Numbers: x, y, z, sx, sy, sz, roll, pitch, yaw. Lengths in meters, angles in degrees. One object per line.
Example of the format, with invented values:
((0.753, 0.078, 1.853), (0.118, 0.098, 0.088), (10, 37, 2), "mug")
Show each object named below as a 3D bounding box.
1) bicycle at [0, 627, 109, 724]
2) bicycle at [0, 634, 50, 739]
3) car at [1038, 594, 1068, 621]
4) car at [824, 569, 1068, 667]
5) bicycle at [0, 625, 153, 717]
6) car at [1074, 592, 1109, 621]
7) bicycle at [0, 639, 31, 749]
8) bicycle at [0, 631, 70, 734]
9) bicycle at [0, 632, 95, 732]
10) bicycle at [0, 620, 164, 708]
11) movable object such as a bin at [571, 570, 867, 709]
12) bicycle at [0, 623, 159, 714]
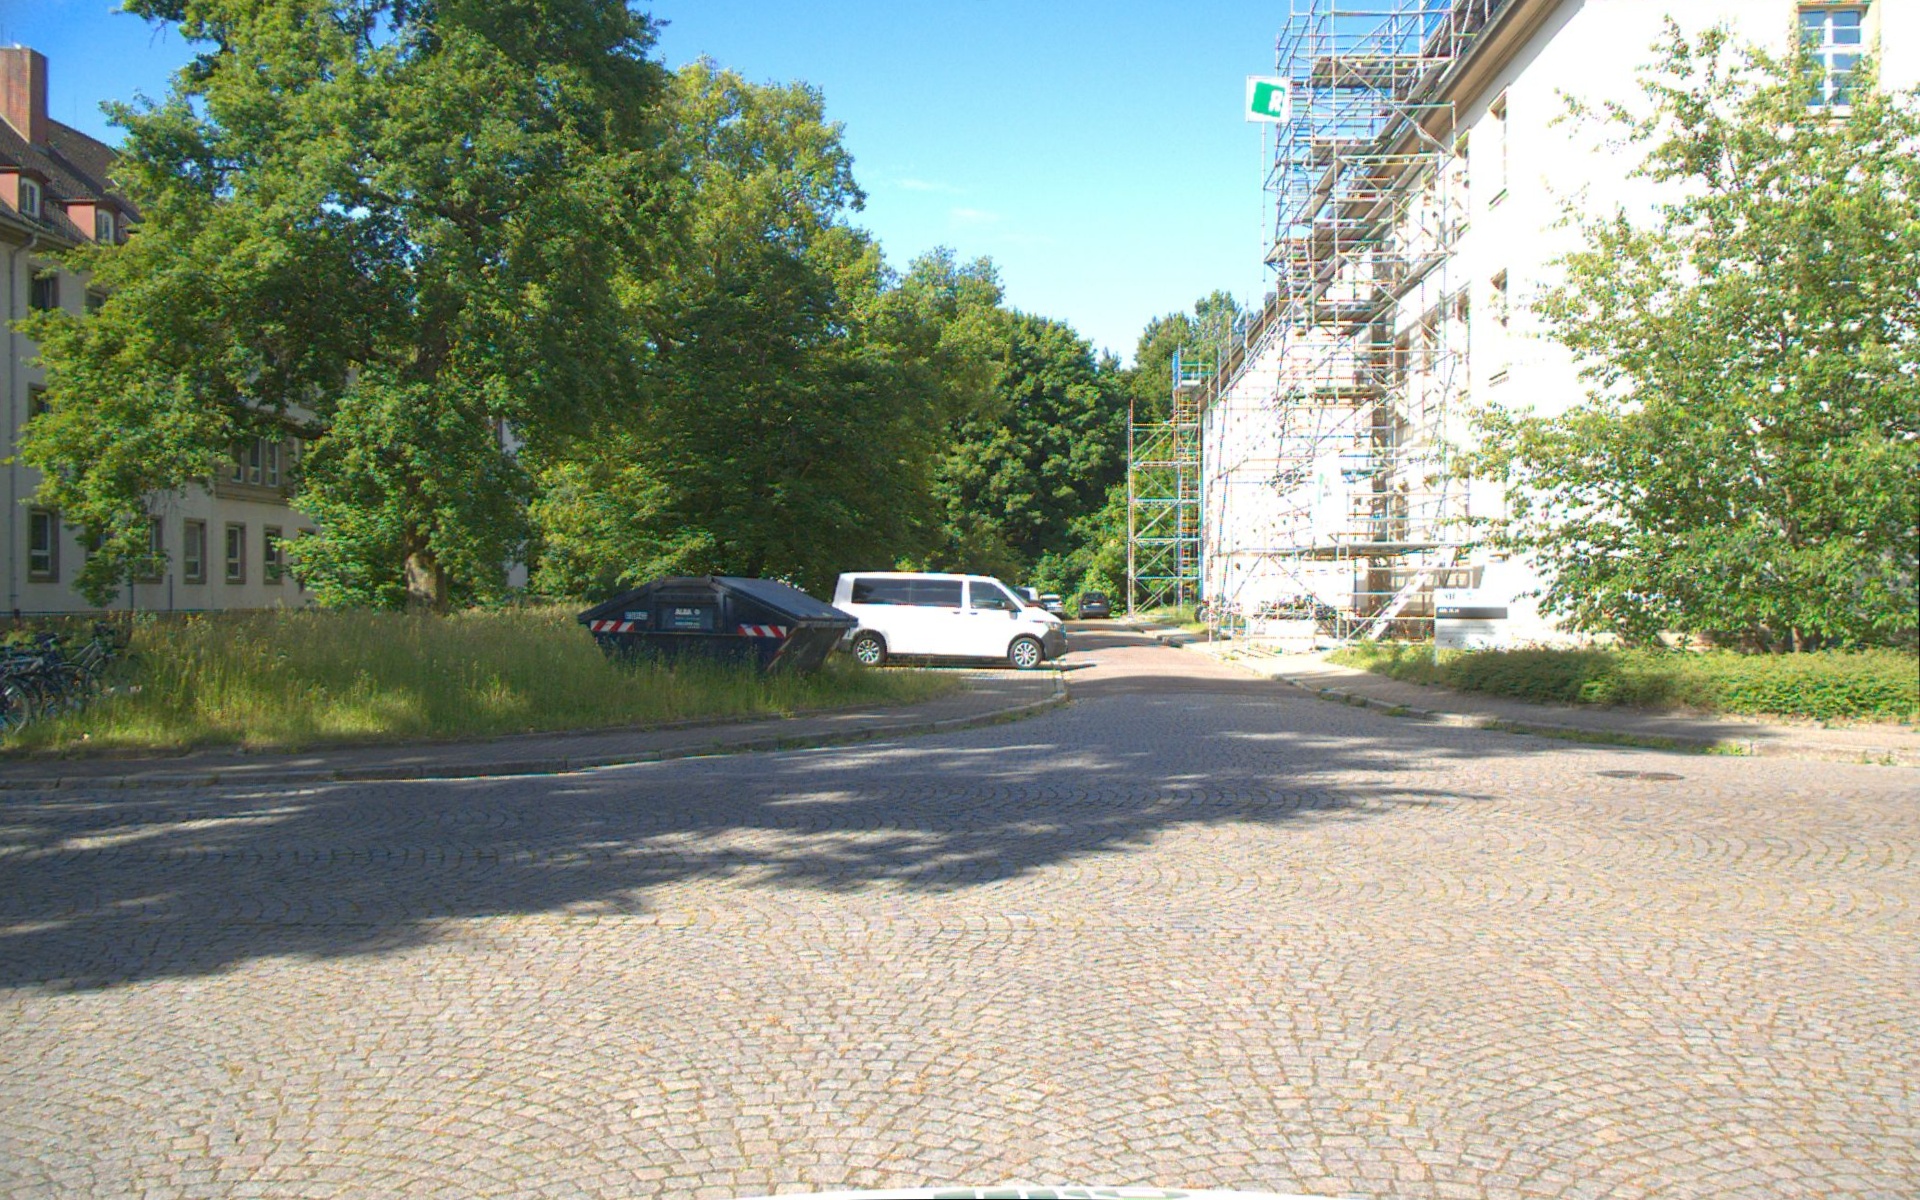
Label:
((-11.148, 0.904, 19.510), (1.884, 1.076, 0.473), (-2, 1, -18), "bicycle")
((-10.663, 0.940, 17.319), (1.885, 1.076, 0.473), (-2, 1, -20), "bicycle")
((5.710, 0.465, 101.577), (1.774, 1.607, 4.136), (-1, 0, 2), "car")
((-0.254, 0.371, 35.747), (5.125, 2.051, 1.951), (0, 0, 2), "car")
((-11.486, 0.901, 21.295), (1.884, 1.076, 0.473), (-2, 1, -18), "bicycle")
((8.077, 0.392, 101.766), (1.930, 1.697, 4.087), (-1, 0, 2), "car")
((-10.281, 0.974, 16.309), (1.890, 1.076, 0.472), (-2, 1, -27), "bicycle")
((-10.743, 0.921, 17.887), (1.885, 1.076, 0.473), (-2, 1, -20), "bicycle")
((-10.884, 0.944, 18.685), (1.885, 1.076, 0.473), (-2, 1, -20), "bicycle")
((-11.782, 0.845, 22.214), (1.884, 1.076, 0.473), (-2, 1, -18), "bicycle")
((-3.288, 0.522, 22.774), (3.492, 1.775, 2.025), (-1, 0, 21), "movable object such as a bin")
((-11.643, 0.891, 21.769), (1.884, 1.076, 0.473), (-2, 1, -18), "bicycle")
